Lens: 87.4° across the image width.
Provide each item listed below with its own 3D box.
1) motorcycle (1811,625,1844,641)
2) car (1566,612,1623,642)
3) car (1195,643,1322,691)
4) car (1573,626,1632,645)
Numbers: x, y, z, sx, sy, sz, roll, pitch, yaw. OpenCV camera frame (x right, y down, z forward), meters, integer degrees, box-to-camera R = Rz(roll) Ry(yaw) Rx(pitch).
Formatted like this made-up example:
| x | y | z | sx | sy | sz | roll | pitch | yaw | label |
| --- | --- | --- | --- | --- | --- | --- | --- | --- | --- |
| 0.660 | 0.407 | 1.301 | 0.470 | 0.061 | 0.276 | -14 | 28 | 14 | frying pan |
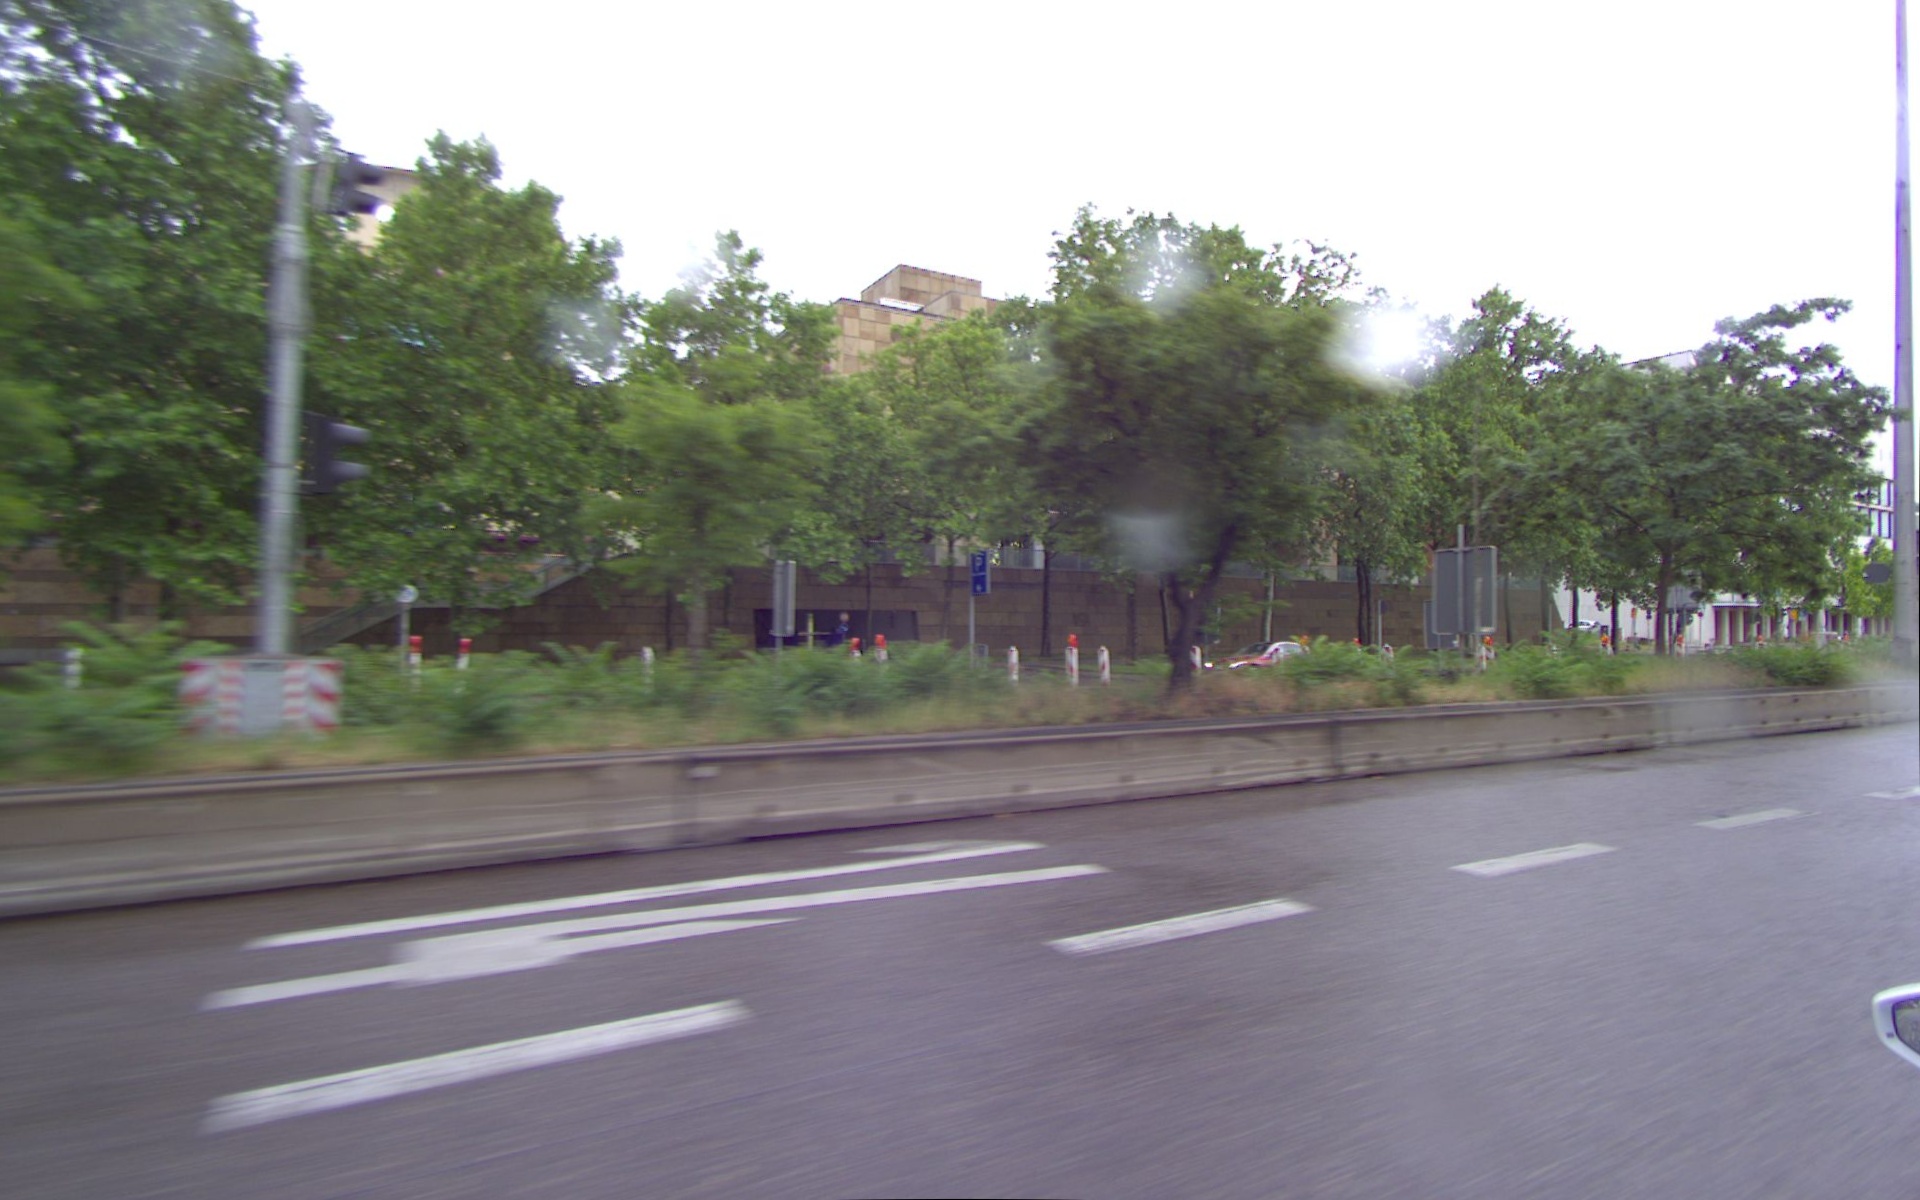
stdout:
| x | y | z | sx | sy | sz | roll | pitch | yaw | label |
| --- | --- | --- | --- | --- | --- | --- | --- | --- | --- |
| 65.279 | 2.503 | 75.605 | 1.809 | 1.169 | 0.426 | -1 | -2 | 34 | motorcycle |
| 57.466 | 2.426 | 91.056 | 1.972 | 2.041 | 3.975 | -6 | 8 | -23 | car |
| 10.226 | 2.287 | 34.361 | 3.952 | 1.550 | 1.985 | 2 | -4 | -29 | car |
| 56.584 | 3.123 | 88.542 | 1.977 | 1.617 | 3.967 | 1 | -2 | -31 | car |
